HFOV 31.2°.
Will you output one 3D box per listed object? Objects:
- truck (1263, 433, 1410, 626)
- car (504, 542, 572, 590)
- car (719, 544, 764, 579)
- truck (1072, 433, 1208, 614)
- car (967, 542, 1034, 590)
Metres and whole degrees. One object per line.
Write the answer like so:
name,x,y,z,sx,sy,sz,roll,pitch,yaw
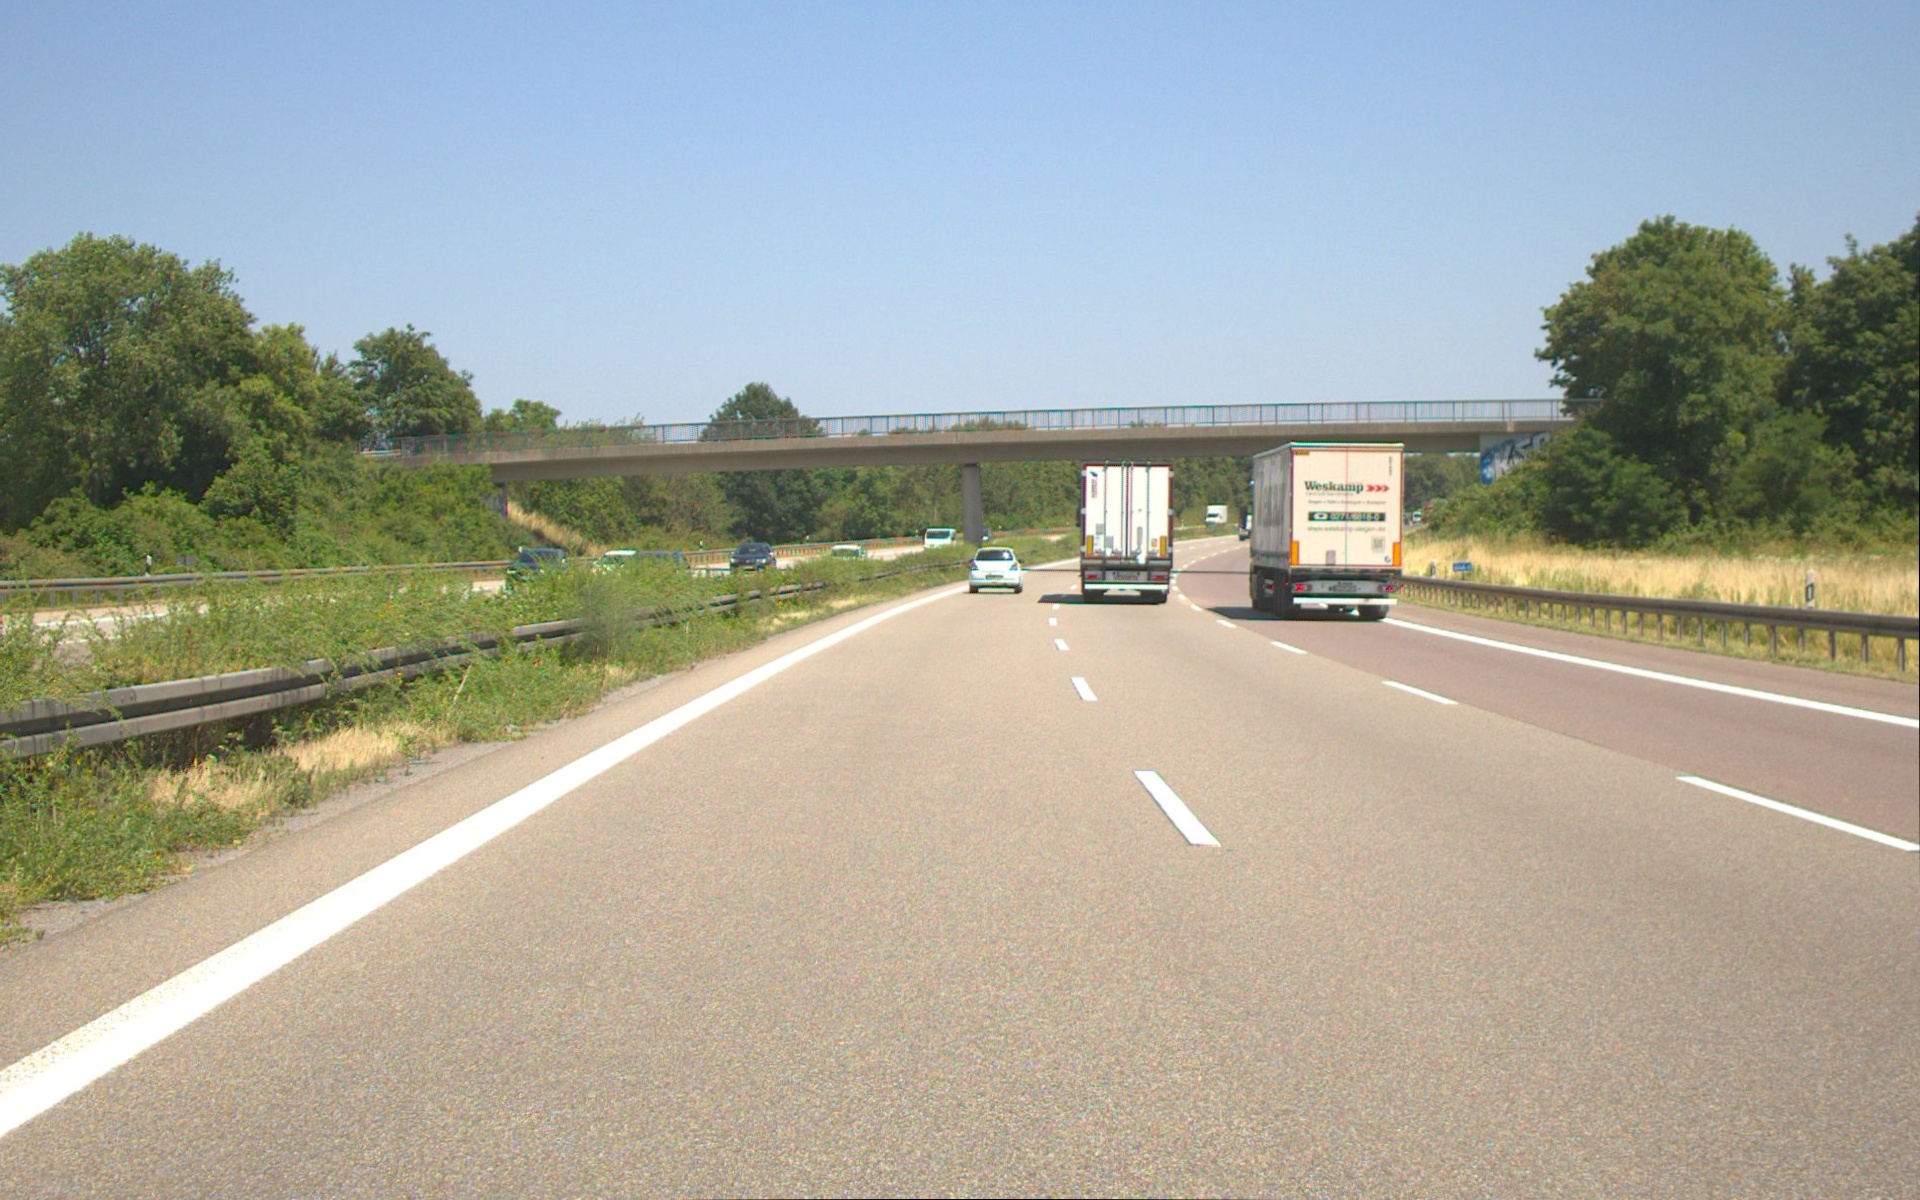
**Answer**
truck,9.119,-1.789,84.913,3.182,4.289,16.015,1,2,5
car,-14.864,-1.225,121.277,1.782,1.655,4.658,0,1,0
car,-9.891,-1.756,156.096,1.645,1.555,4.066,0,0,2
truck,5.272,-2.345,103.642,3.666,5.001,16.018,0,2,2
car,1.356,-1.134,114.541,1.828,1.542,4.318,1,1,6
